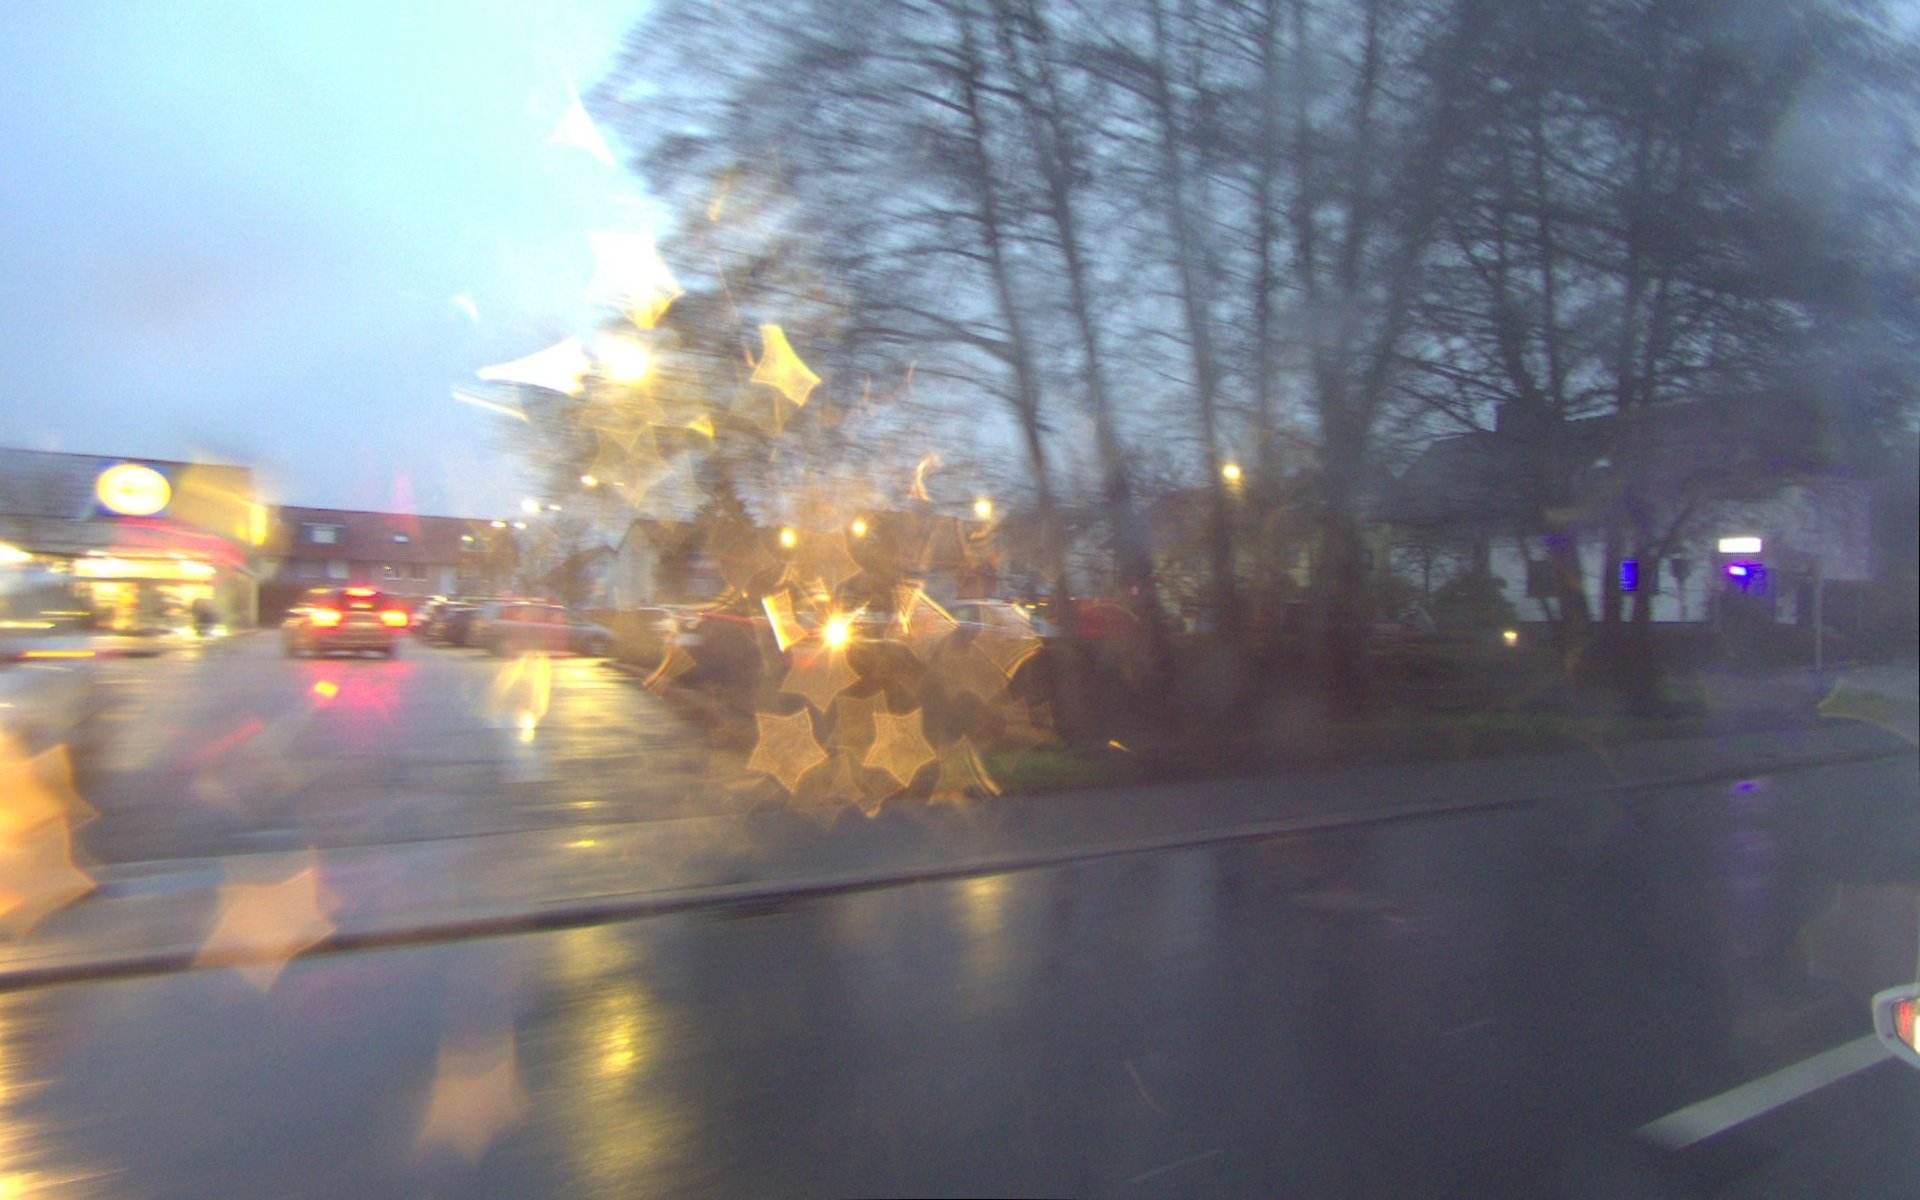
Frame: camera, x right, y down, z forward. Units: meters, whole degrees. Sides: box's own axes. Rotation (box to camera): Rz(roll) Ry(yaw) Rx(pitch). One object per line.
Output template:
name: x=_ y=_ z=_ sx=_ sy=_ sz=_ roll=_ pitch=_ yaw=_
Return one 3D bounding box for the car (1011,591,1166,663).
car: x=4.576 y=0.869 z=35.443 sx=5.214 sy=2.310 sz=2.266 roll=0 pitch=2 yaw=-34

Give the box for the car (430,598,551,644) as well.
car: x=-18.336 y=0.784 z=39.297 sx=3.965 sy=1.639 sz=1.897 roll=-1 pitch=2 yaw=-39

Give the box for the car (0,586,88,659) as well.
car: x=-22.262 y=0.550 z=23.739 sx=2.035 sy=1.584 sz=4.401 roll=0 pitch=-2 yaw=-35

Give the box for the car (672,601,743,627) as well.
car: x=-17.797 y=0.957 z=70.915 sx=4.472 sy=1.662 sz=1.919 roll=0 pitch=3 yaw=-34

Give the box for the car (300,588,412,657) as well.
car: x=-16.246 y=0.565 z=26.910 sx=1.952 sy=1.694 sz=4.370 roll=0 pitch=0 yaw=-40

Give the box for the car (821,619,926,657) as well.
car: x=-4.115 y=1.791 z=48.078 sx=4.612 sy=1.590 sz=2.034 roll=0 pitch=2 yaw=-34

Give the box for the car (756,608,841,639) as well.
car: x=-9.320 y=1.335 z=57.992 sx=4.463 sy=1.662 sz=1.922 roll=0 pitch=3 yaw=-29

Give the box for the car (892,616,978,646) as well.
car: x=-1.065 y=1.304 z=43.128 sx=3.357 sy=1.146 sz=1.550 roll=0 pitch=3 yaw=-34

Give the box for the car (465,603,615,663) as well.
car: x=-12.990 y=0.969 z=31.146 sx=3.965 sy=1.639 sz=1.897 roll=-1 pitch=2 yaw=-39

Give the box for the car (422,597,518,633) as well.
car: x=-24.069 y=0.688 z=49.411 sx=3.965 sy=1.639 sz=1.897 roll=-1 pitch=2 yaw=-39

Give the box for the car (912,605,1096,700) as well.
car: x=1.016 y=1.214 z=25.462 sx=2.111 sy=2.004 sz=4.606 roll=0 pitch=2 yaw=-40

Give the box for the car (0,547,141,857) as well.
car: x=-7.043 y=0.510 z=6.611 sx=1.878 sy=1.722 sz=4.205 roll=2 pitch=2 yaw=-30
